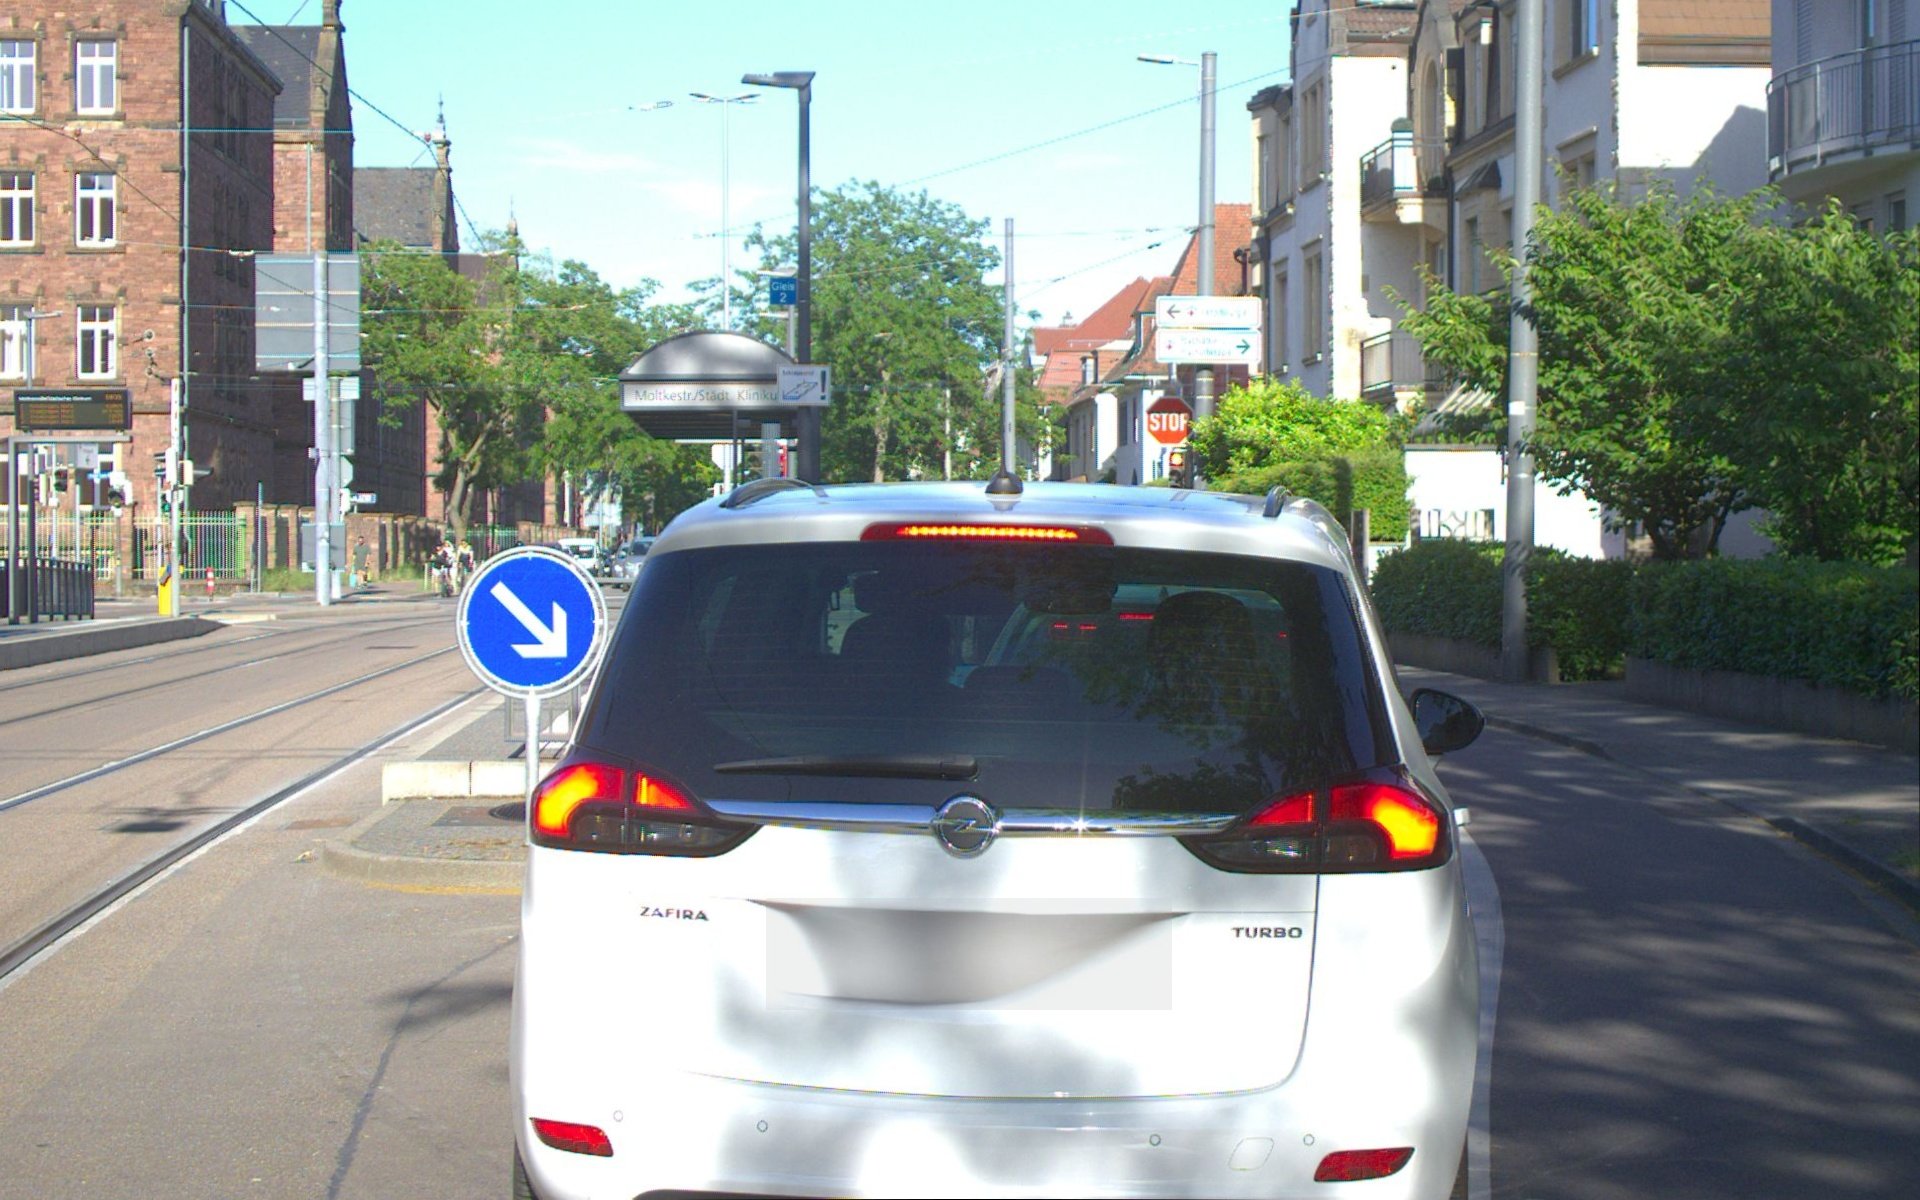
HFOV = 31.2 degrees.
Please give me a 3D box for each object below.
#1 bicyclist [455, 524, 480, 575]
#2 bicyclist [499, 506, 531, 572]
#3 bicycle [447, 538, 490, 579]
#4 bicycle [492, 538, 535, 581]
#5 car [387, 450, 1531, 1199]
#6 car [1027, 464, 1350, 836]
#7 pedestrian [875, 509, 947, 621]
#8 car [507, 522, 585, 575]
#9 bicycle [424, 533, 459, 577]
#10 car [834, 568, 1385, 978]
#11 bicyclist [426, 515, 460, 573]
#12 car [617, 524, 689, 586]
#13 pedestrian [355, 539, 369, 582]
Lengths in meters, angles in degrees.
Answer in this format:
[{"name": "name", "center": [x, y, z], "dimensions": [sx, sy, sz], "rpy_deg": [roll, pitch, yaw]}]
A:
[{"name": "bicyclist", "center": [-15.634, -1.600, 109.119], "dimensions": [0.702, 1.601, 0.657], "rpy_deg": [0, 1, -3]}, {"name": "bicyclist", "center": [-13.662, -1.861, 105.547], "dimensions": [0.950, 2.007, 0.824], "rpy_deg": [0, 1, -6]}, {"name": "bicycle", "center": [-15.543, -1.326, 108.854], "dimensions": [1.148, 1.292, 2.861], "rpy_deg": [0, 1, -4]}, {"name": "bicycle", "center": [-13.694, -1.243, 105.560], "dimensions": [1.148, 1.292, 2.861], "rpy_deg": [0, 1, -4]}, {"name": "car", "center": [0.178, 0.590, 7.773], "dimensions": [1.893, 1.605, 4.228], "rpy_deg": [0, -1, 5]}, {"name": "car", "center": [1.455, 0.241, 20.575], "dimensions": [1.709, 2.007, 3.905], "rpy_deg": [0, 1, 7]}, {"name": "pedestrian", "center": [-0.884, -0.642, 62.094], "dimensions": [1.155, 2.007, 1.120], "rpy_deg": [0, 1, -9]}, {"name": "car", "center": [-13.688, -1.699, 113.794], "dimensions": [1.993, 1.716, 4.000], "rpy_deg": [0, 1, 2]}, {"name": "bicycle", "center": [-15.481, -1.352, 102.674], "dimensions": [0.821, 1.292, 2.678], "rpy_deg": [0, 1, -4]}, {"name": "car", "center": [0.771, 0.605, 14.438], "dimensions": [1.994, 1.437, 3.999], "rpy_deg": [0, 1, 7]}, {"name": "bicyclist", "center": [-15.484, -1.682, 102.957], "dimensions": [0.943, 1.728, 0.861], "rpy_deg": [0, 1, -3]}, {"name": "car", "center": [-9.566, -1.392, 107.321], "dimensions": [1.993, 1.907, 4.000], "rpy_deg": [0, 0, -2]}, {"name": "pedestrian", "center": [-19.809, -1.303, 113.874], "dimensions": [0.361, 1.433, 0.549], "rpy_deg": [0, 1, -1]}]
